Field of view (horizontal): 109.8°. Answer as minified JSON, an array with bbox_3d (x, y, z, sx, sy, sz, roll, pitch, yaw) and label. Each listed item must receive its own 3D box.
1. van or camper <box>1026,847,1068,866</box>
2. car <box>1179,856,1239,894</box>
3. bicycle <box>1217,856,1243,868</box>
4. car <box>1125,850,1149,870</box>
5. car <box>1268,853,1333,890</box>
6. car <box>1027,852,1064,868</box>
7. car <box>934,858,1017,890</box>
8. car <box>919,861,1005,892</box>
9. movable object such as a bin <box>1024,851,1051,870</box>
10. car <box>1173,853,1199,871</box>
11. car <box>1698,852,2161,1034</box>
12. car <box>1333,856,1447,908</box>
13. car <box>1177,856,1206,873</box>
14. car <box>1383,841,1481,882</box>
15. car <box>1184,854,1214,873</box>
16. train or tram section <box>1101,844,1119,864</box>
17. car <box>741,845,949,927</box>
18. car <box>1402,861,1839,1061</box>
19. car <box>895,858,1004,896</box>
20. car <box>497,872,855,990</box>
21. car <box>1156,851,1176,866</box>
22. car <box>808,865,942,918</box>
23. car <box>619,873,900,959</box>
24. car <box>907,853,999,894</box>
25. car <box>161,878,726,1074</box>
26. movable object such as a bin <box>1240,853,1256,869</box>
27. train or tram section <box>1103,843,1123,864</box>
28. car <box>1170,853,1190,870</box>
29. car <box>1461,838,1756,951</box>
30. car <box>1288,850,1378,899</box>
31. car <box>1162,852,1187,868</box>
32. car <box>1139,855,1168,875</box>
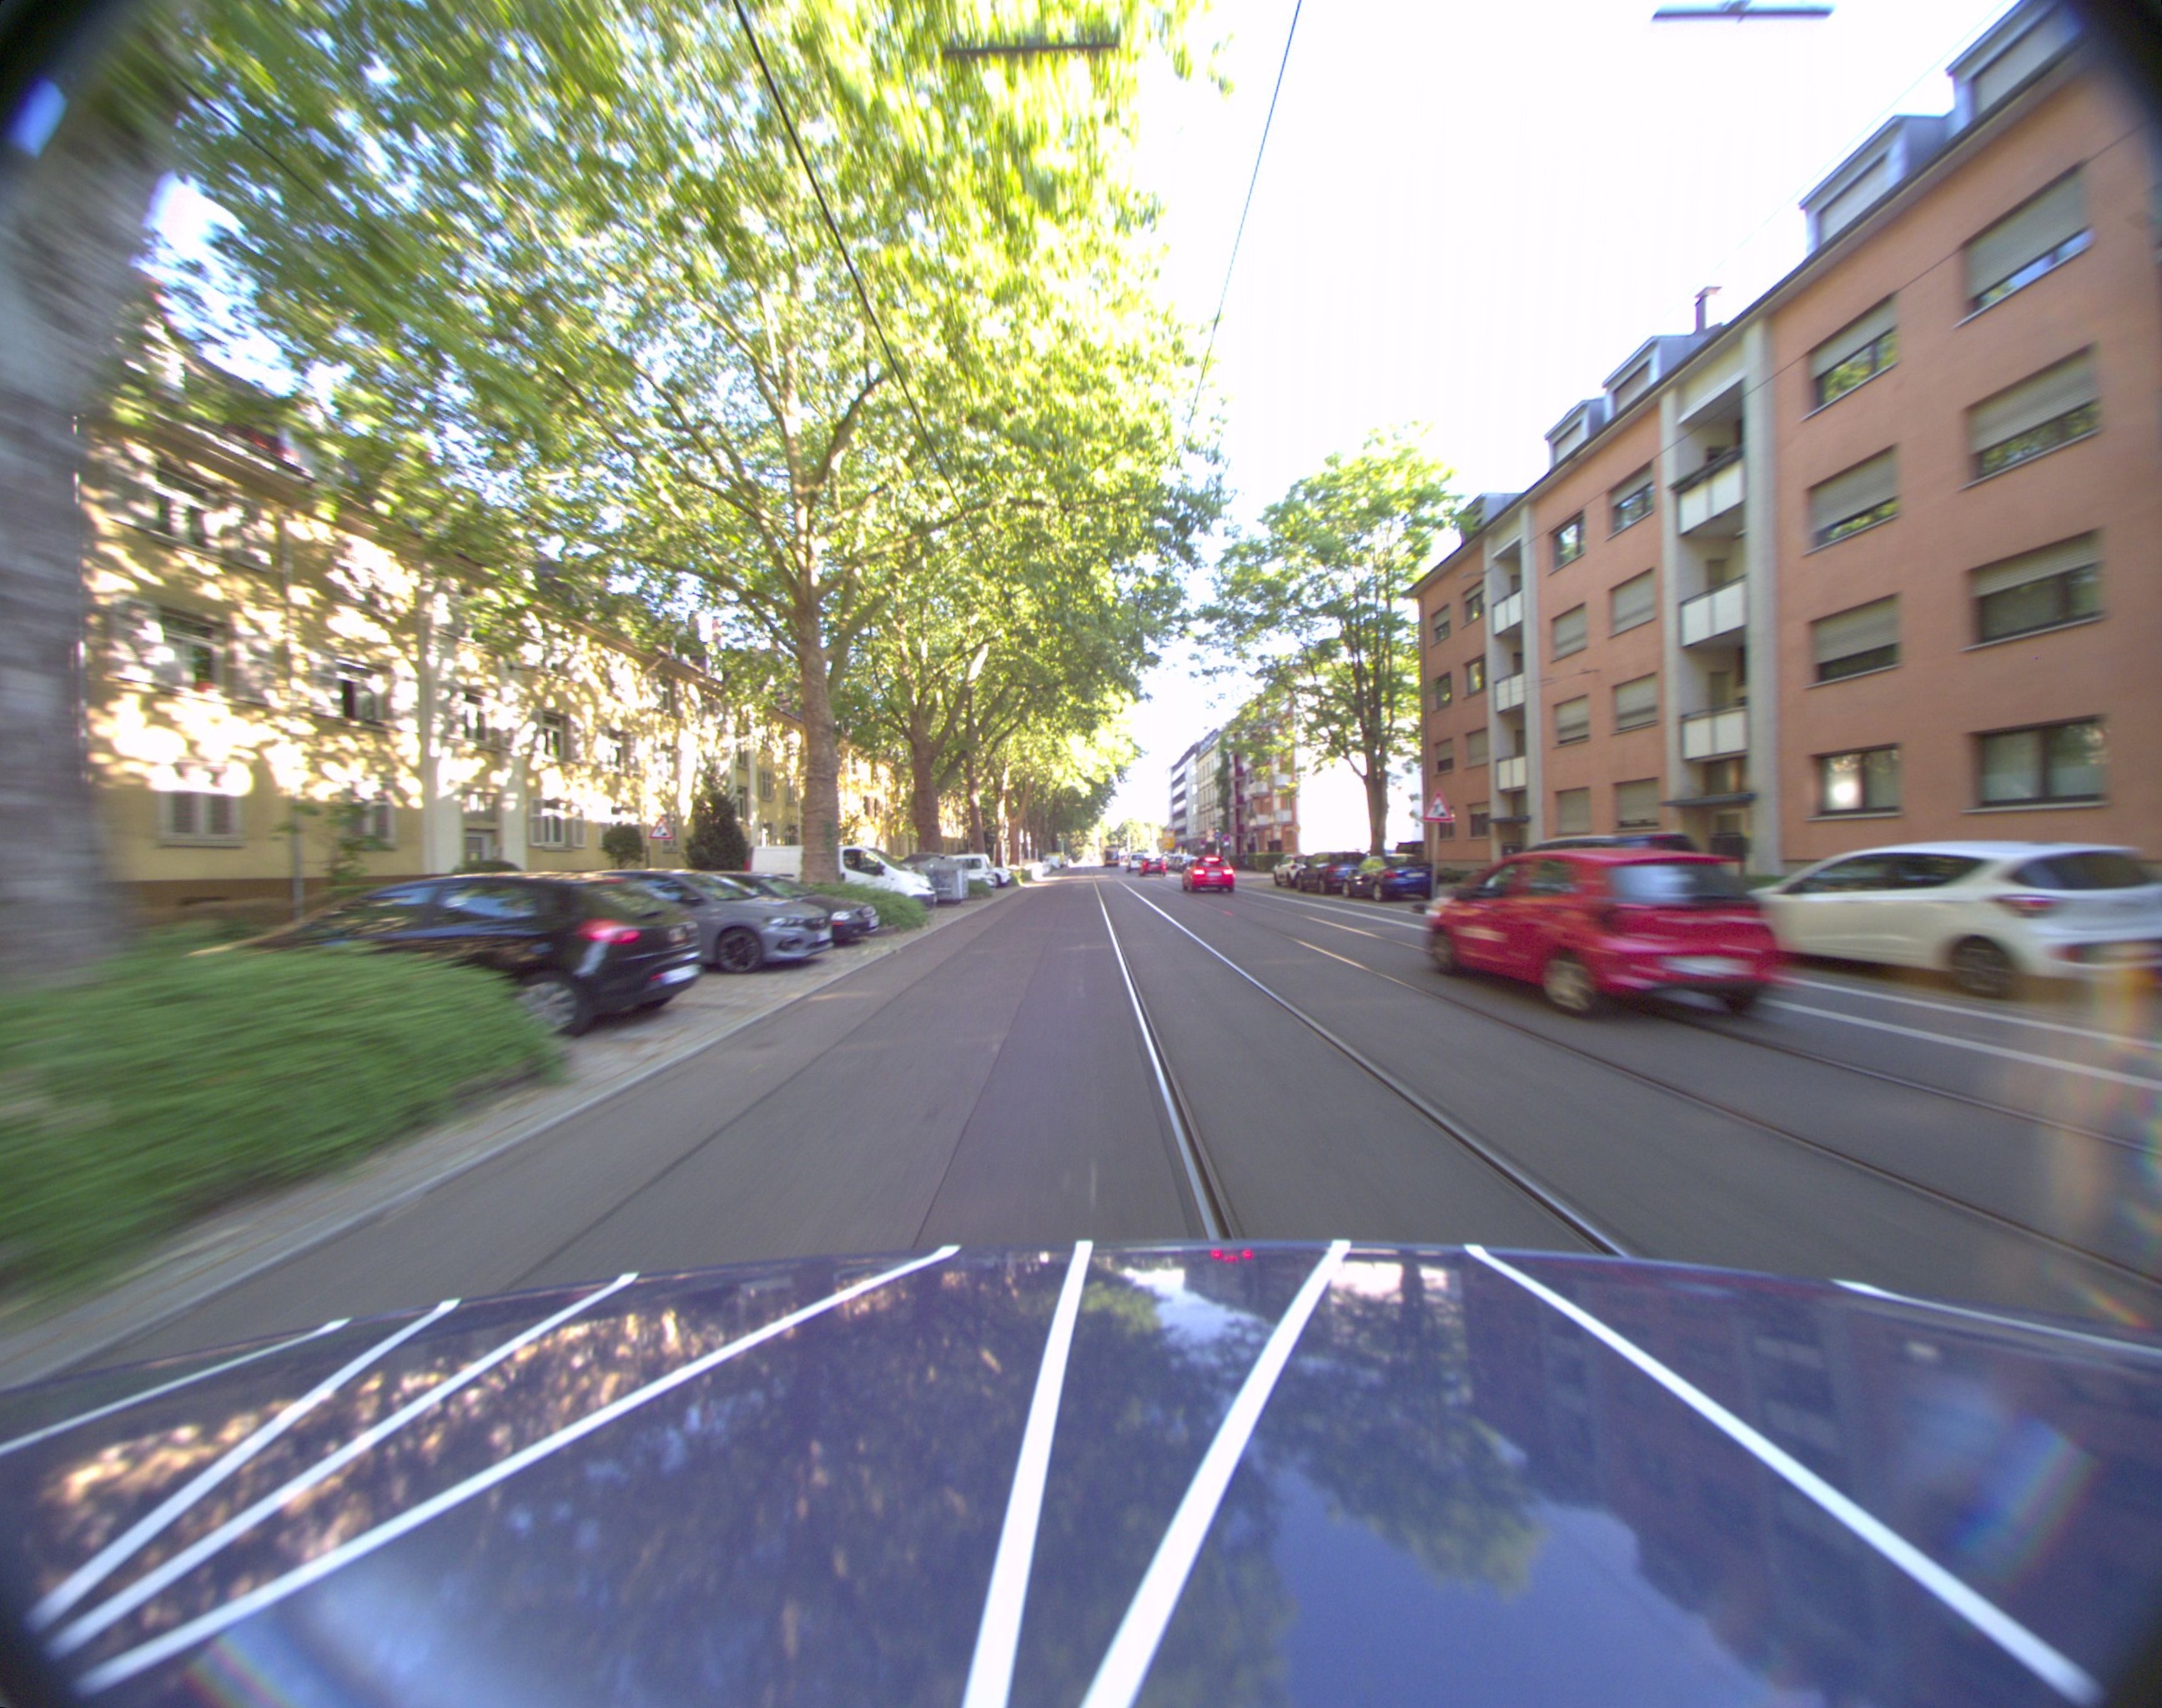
[{"bbox_3d":[-4.894,0.393,110.716,5.939,2.614,2.270,-1,1,3],"label":"van or camper"},{"bbox_3d":[5.077,0.797,30.699,1.727,1.428,4.069,-1,0,0],"label":"car"},{"bbox_3d":[15.026,0.802,76.720,2.457,1.056,0.699,-3,0,-2],"label":"bicycle"},{"bbox_3d":[5.358,0.524,73.336,1.896,1.821,4.895,-1,0,0],"label":"car"},{"bbox_3d":[9.888,0.760,34.533,1.811,1.469,4.090,-3,0,1],"label":"car"},{"bbox_3d":[-4.711,0.836,101.137,4.847,2.001,2.063,-1,0,0],"label":"car"},{"bbox_3d":[-5.482,1.020,39.953,4.098,1.512,1.916,-1,1,-1],"label":"car"},{"bbox_3d":[-5.861,1.088,37.638,3.852,1.424,1.852,-1,0,4],"label":"car"},{"bbox_3d":[-5.137,0.738,90.973,1.482,2.256,3.283,-1,0,34],"label":"movable object such as a bin"},{"bbox_3d":[10.109,0.768,73.262,1.824,1.577,4.005,-2,0,-2],"label":"car"},{"bbox_3d":[9.453,0.780,8.592,1.714,1.479,3.861,-4,0,-1],"label":"car"},{"bbox_3d":[9.628,0.806,24.103,1.742,1.392,4.382,-3,0,-1],"label":"car"},{"bbox_3d":[9.860,0.907,68.021,1.957,1.387,4.863,-4,0,1],"label":"car"},{"bbox_3d":[19.621,0.402,42.643,2.003,2.111,4.712,-2,1,-28],"label":"car"},{"bbox_3d":[9.727,0.769,62.827,1.729,1.474,3.930,-4,0,-1],"label":"car"},{"bbox_3d":[5.469,0.059,144.163,2.916,3.465,13.369,-1,0,0],"label":"train or tram section"},{"bbox_3d":[-6.112,0.799,20.181,4.849,1.952,2.064,-1,0,-2],"label":"car"},{"bbox_3d":[4.947,0.832,7.766,1.667,1.470,3.950,-1,0,0],"label":"car"},{"bbox_3d":[-5.764,1.016,33.511,4.380,1.533,1.802,-1,-1,4],"label":"car"},{"bbox_3d":[-5.786,1.072,11.277,4.258,1.475,1.898,-1,0,0],"label":"car"},{"bbox_3d":[10.530,0.597,94.491,1.793,1.760,4.470,-3,0,-3],"label":"car"},{"bbox_3d":[-6.099,1.093,22.774,3.536,1.438,1.672,-1,0,-2],"label":"car"},{"bbox_3d":[-5.807,1.103,14.048,4.406,1.372,1.804,-1,1,4],"label":"car"},{"bbox_3d":[-5.945,0.890,35.675,3.852,1.761,1.917,-1,0,4],"label":"car"},{"bbox_3d":[-5.705,1.043,7.179,3.848,1.501,1.710,-1,0,0],"label":"car"},{"bbox_3d":[13.836,0.575,63.024,1.214,1.357,0.747,-1,0,2],"label":"movable object such as a bin"},{"bbox_3d":[5.353,-0.066,130.393,2.916,3.465,14.198,-1,0,0],"label":"train or tram section"},{"bbox_3d":[10.190,0.750,78.228,1.630,1.563,3.781,-3,0,2],"label":"car"},{"bbox_3d":[9.474,0.641,14.347,1.957,1.676,5.070,-2,0,-1],"label":"car"},{"bbox_3d":[9.508,0.739,29.043,1.785,1.601,4.587,-4,0,-1],"label":"car"},{"bbox_3d":[10.228,0.616,83.504,1.957,1.639,4.881,-3,0,-1],"label":"car"},{"bbox_3d":[5.326,0.807,56.535,1.780,1.449,4.202,0,0,0],"label":"car"}]
